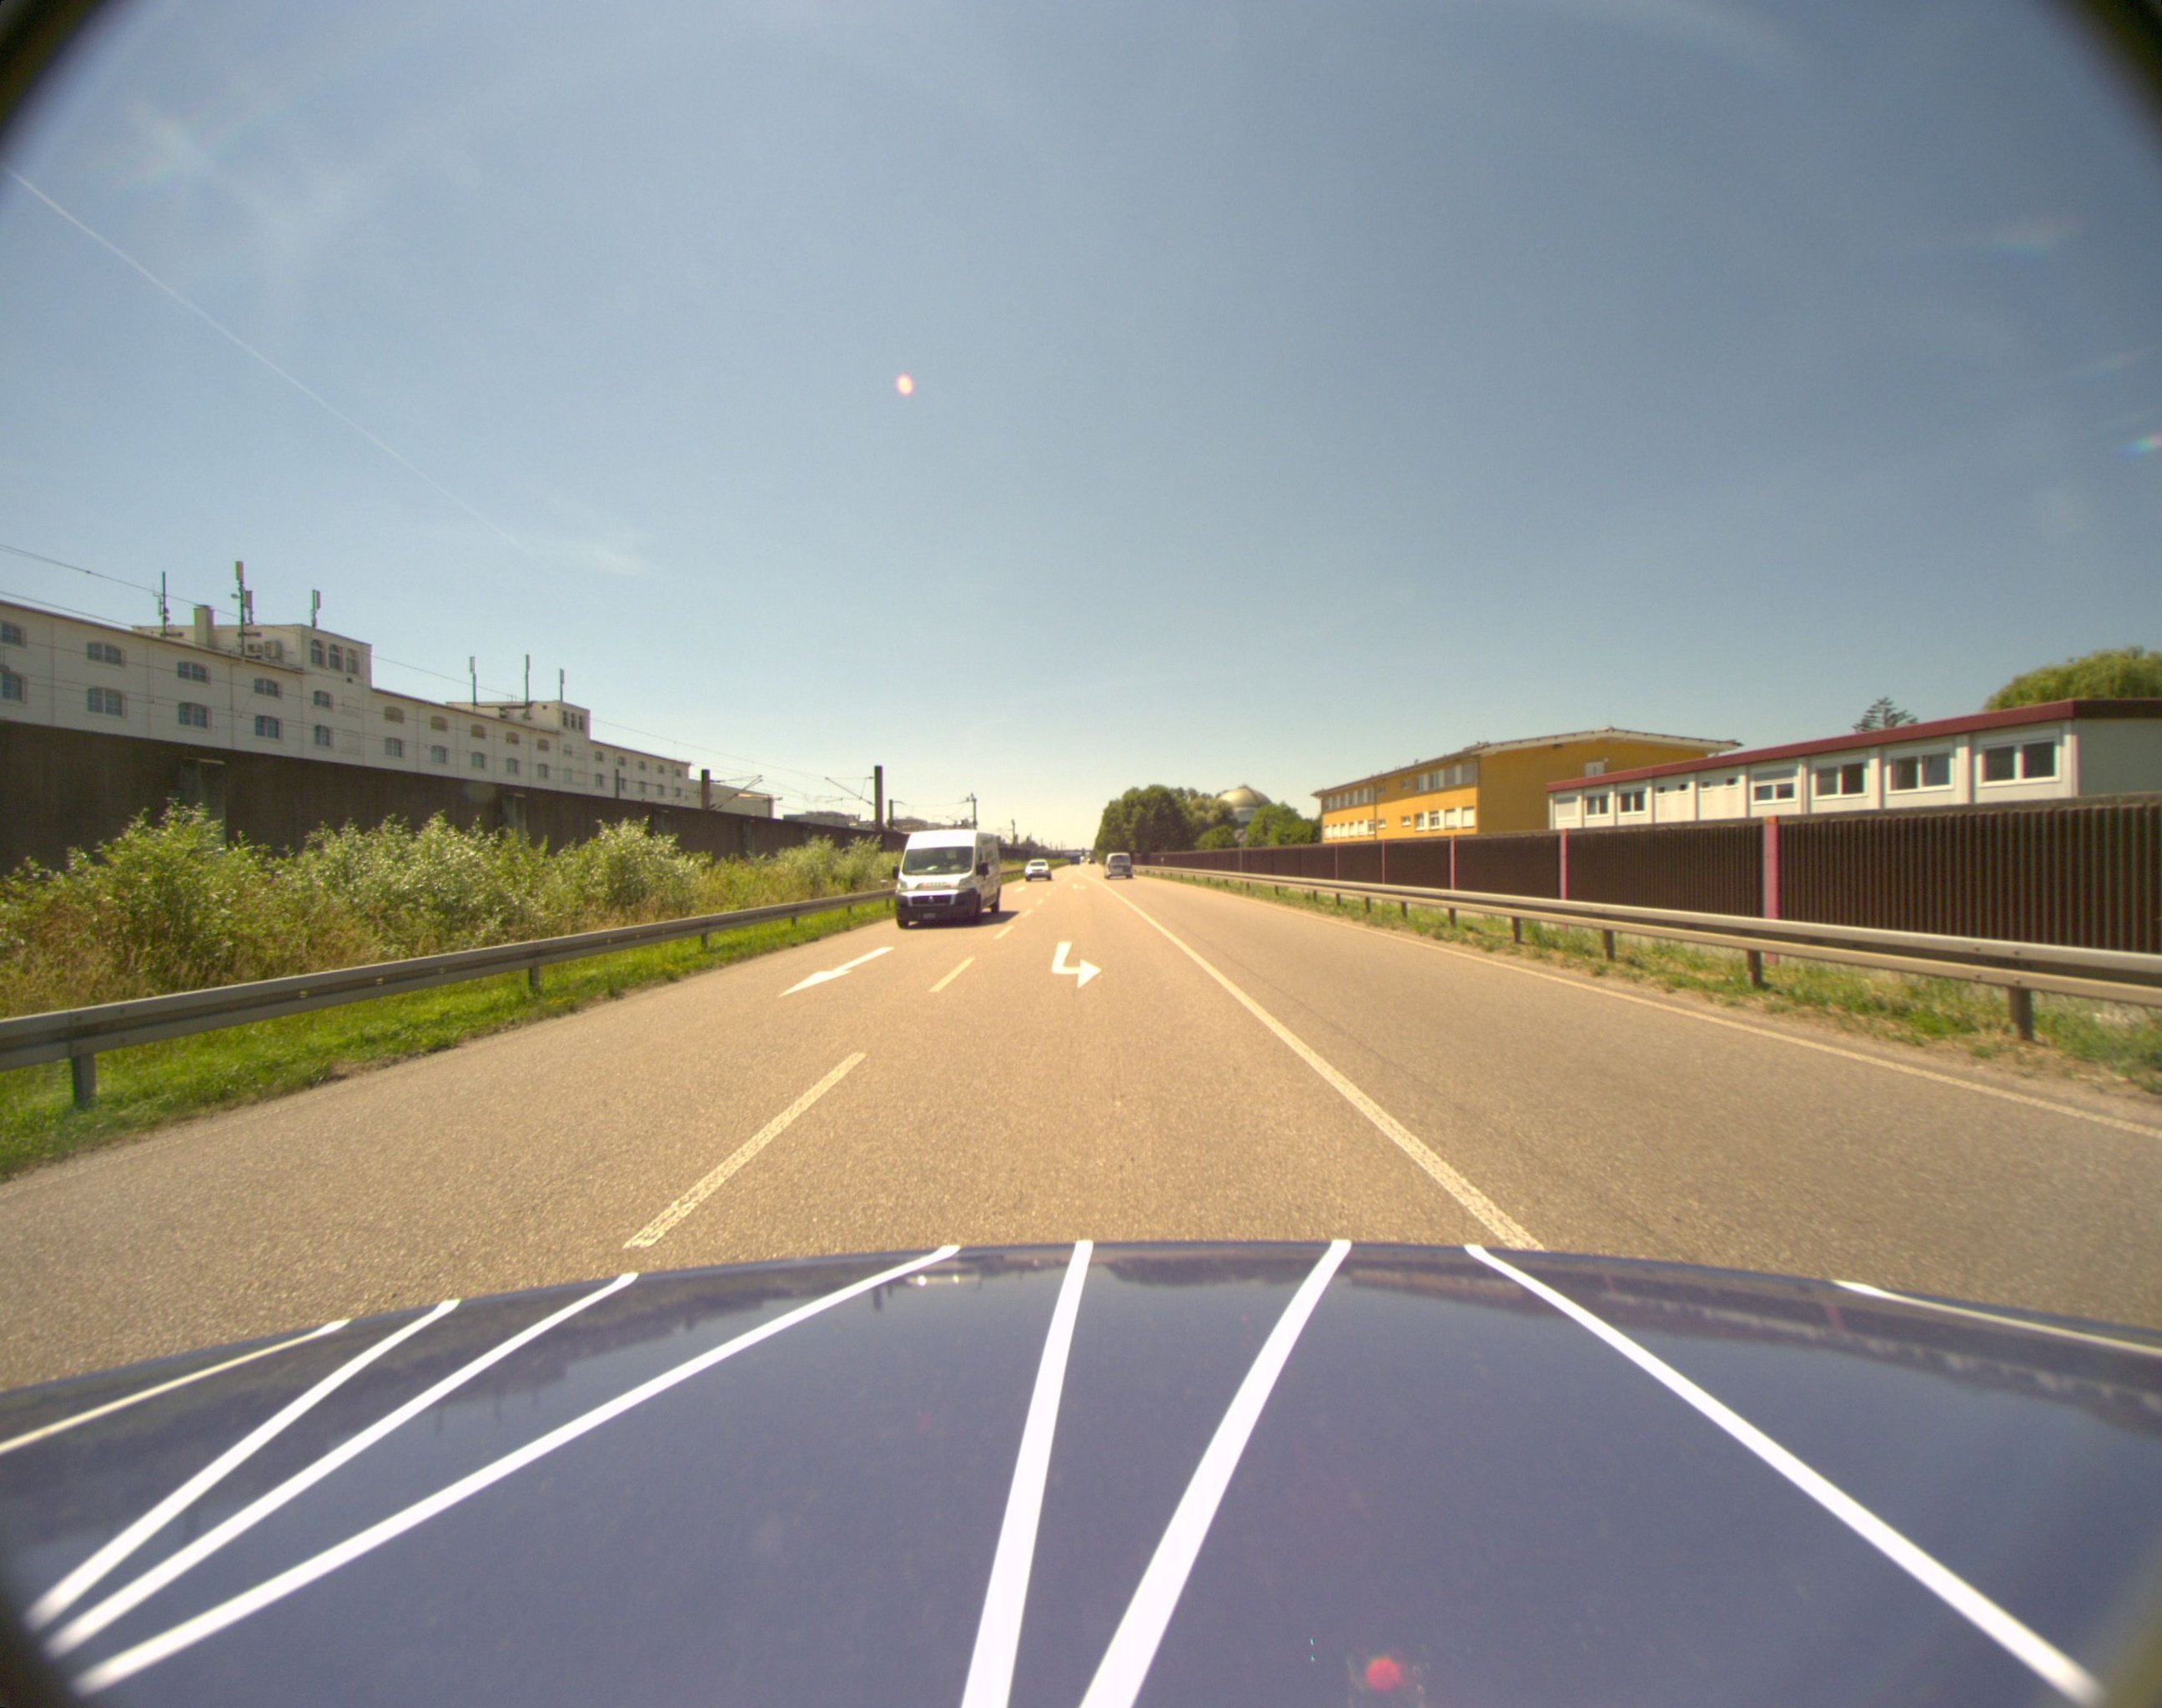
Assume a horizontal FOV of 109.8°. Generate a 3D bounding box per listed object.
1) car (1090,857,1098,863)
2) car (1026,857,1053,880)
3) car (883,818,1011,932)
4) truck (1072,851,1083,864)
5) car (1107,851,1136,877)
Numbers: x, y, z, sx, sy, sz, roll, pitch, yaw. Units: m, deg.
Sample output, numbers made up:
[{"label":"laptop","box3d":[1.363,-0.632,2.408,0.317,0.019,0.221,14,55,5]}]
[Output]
[{"label":"car","box3d":[3.378,1.450,194.564,1.849,1.382,4.190,-3,0,0]},{"label":"car","box3d":[-3.080,1.075,56.790,1.823,1.554,4.278,-2,0,-2]},{"label":"car","box3d":[-3.467,0.510,21.215,2.194,2.588,6.750,-3,0,1]},{"label":"truck","box3d":[-0.801,0.881,191.866,2.617,3.024,10.656,-1,0,1]},{"label":"car","box3d":[2.856,0.702,54.713,1.892,1.730,4.777,-2,0,2]}]
